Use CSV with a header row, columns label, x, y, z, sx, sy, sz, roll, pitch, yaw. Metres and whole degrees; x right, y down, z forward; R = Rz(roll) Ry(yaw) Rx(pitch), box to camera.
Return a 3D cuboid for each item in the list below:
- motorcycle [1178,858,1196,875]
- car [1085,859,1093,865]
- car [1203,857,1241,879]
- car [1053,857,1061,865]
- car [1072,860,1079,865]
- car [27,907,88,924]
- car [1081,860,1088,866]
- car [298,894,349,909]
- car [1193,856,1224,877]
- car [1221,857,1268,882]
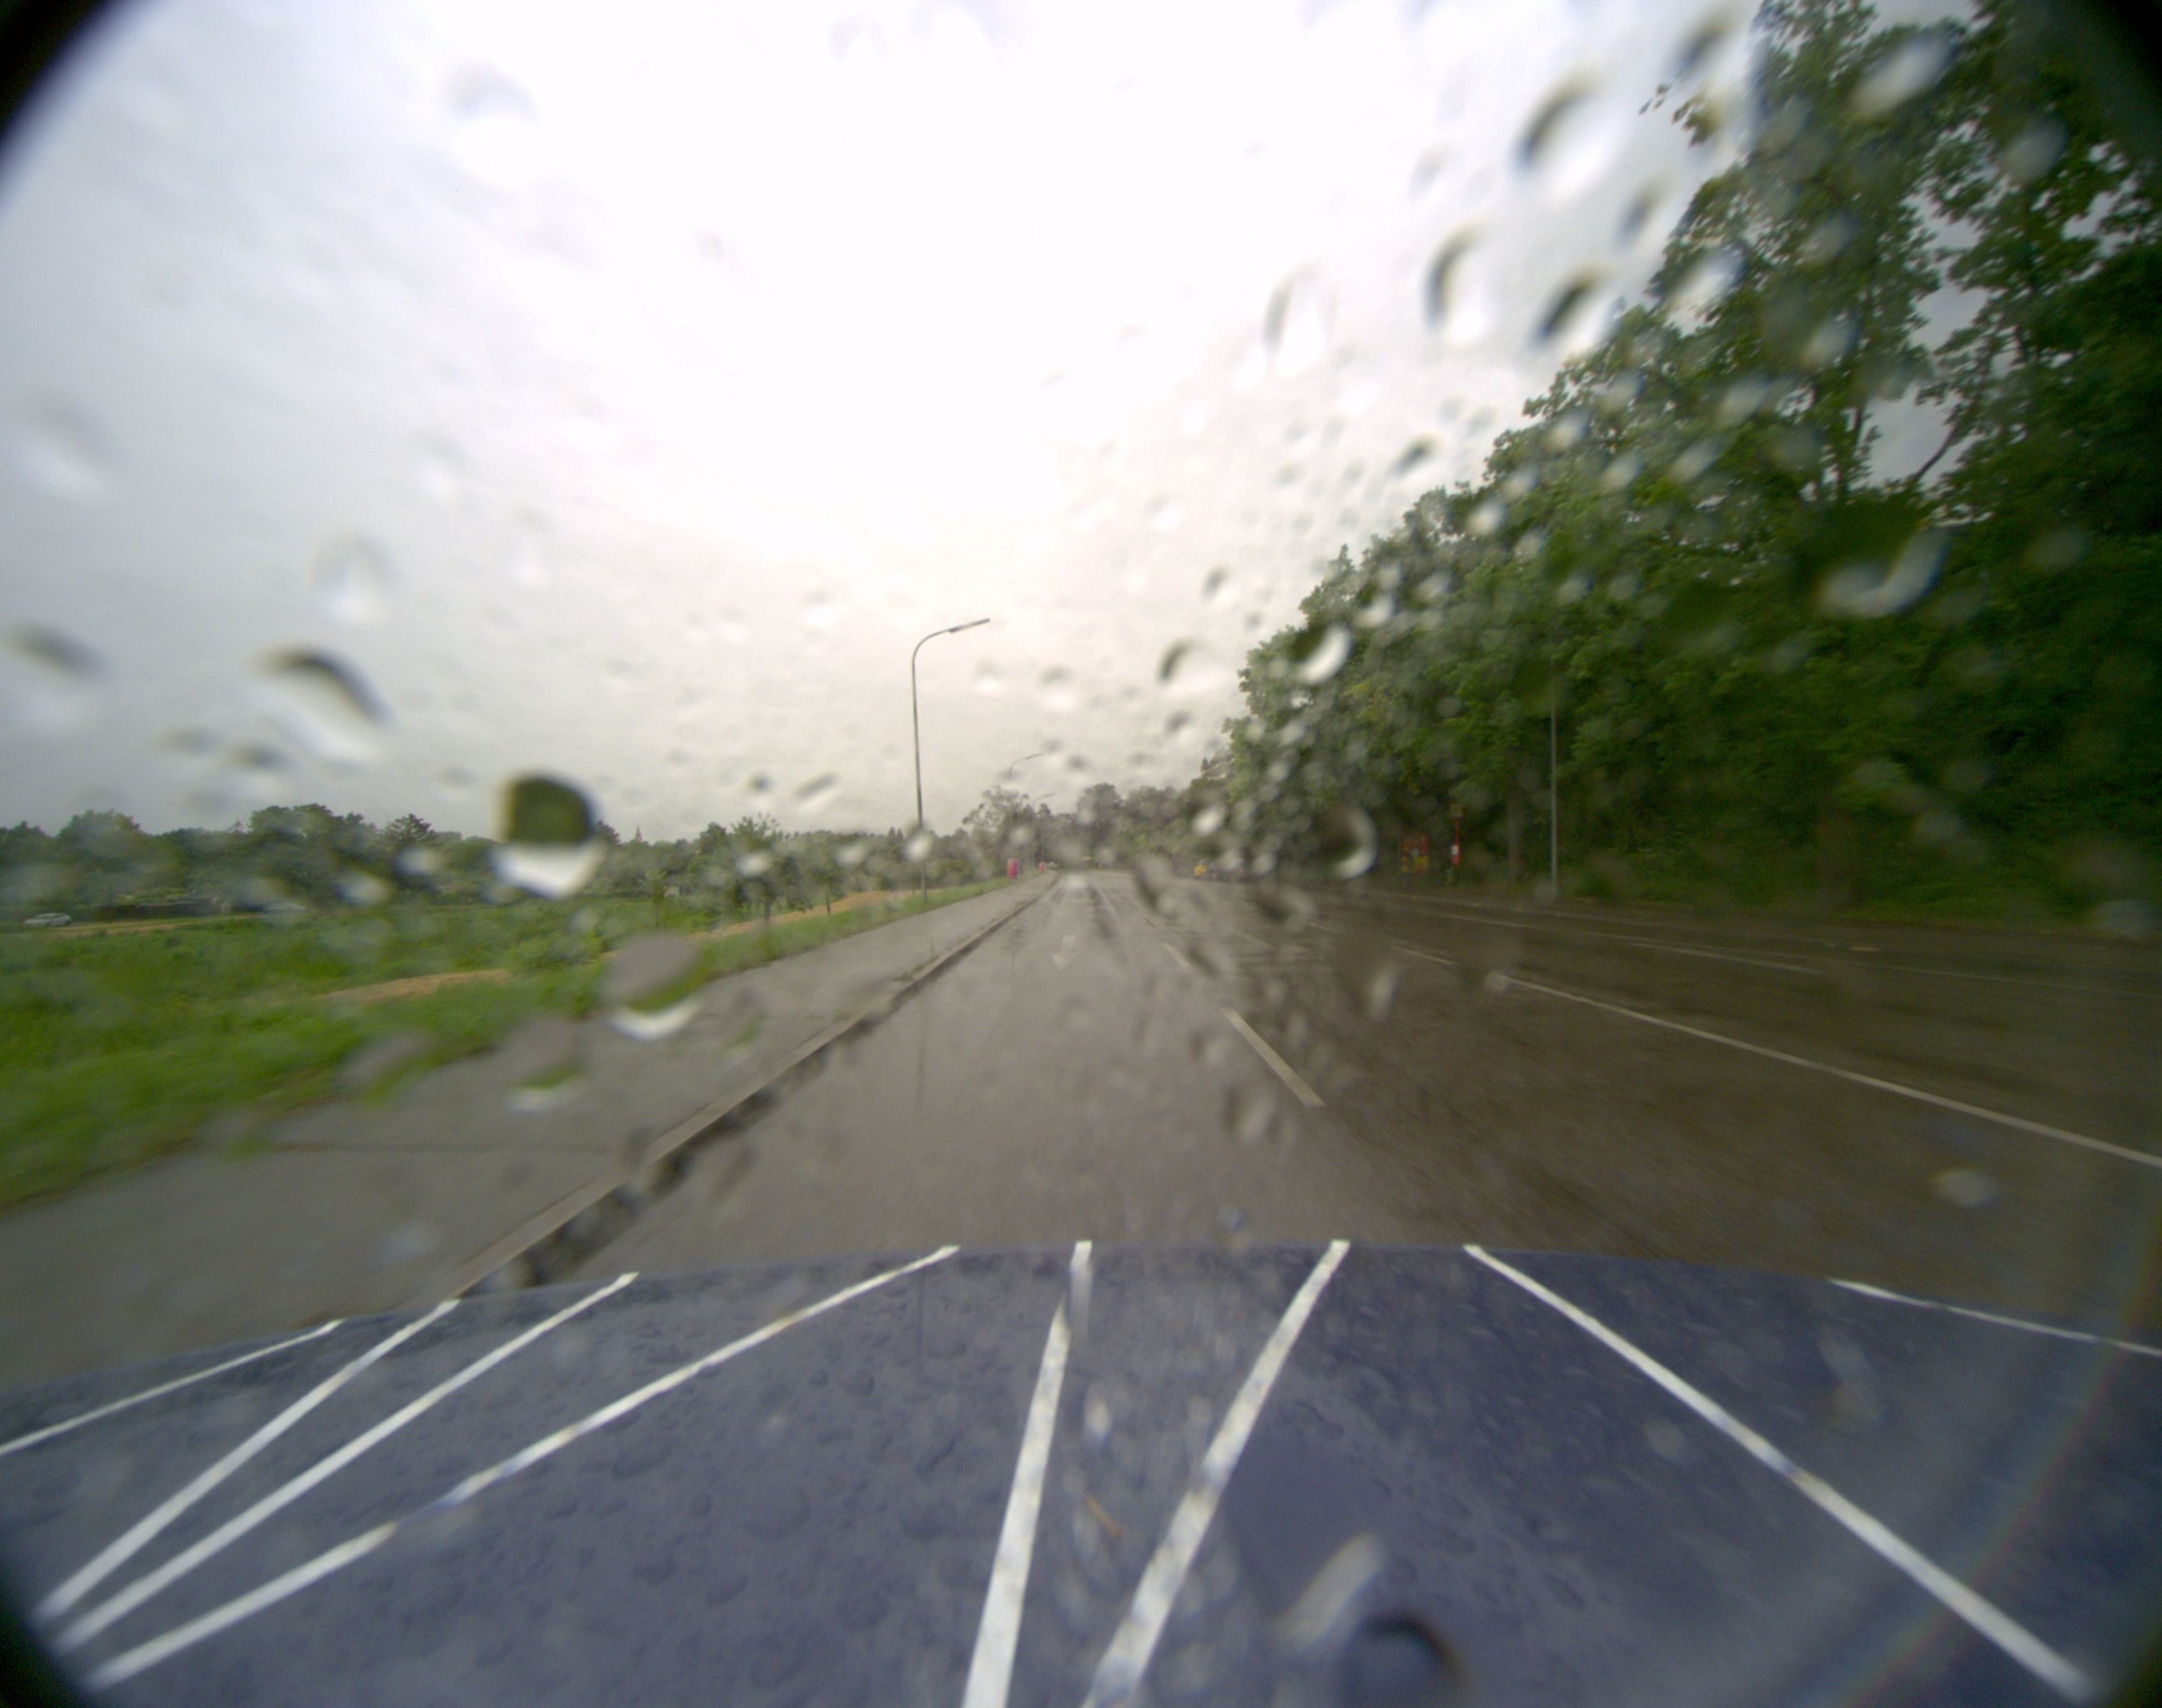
label,x,y,z,sx,sy,sz,roll,pitch,yaw
motorcycle,8.792,1.010,63.084,0.840,1.333,2.497,-1,0,-7
car,2.130,2.316,211.171,1.853,1.583,3.704,-2,-1,-3
car,9.587,0.919,51.963,1.437,1.411,4.102,-1,0,-6
car,-6.463,1.932,202.236,1.999,2.001,4.000,-1,-1,-2
car,-1.835,2.684,246.190,1.853,1.583,3.704,-2,-1,-3
car,-109.730,6.584,81.545,1.801,1.501,4.159,-3,0,-19
car,0.945,2.650,228.878,1.853,1.583,3.704,-2,-1,-3
car,-90.508,5.693,90.850,3.999,1.501,1.799,-2,1,-8
car,9.388,0.911,56.123,1.438,1.528,2.817,-1,0,-9
car,9.989,0.927,46.799,1.691,1.411,4.740,-1,0,-3
